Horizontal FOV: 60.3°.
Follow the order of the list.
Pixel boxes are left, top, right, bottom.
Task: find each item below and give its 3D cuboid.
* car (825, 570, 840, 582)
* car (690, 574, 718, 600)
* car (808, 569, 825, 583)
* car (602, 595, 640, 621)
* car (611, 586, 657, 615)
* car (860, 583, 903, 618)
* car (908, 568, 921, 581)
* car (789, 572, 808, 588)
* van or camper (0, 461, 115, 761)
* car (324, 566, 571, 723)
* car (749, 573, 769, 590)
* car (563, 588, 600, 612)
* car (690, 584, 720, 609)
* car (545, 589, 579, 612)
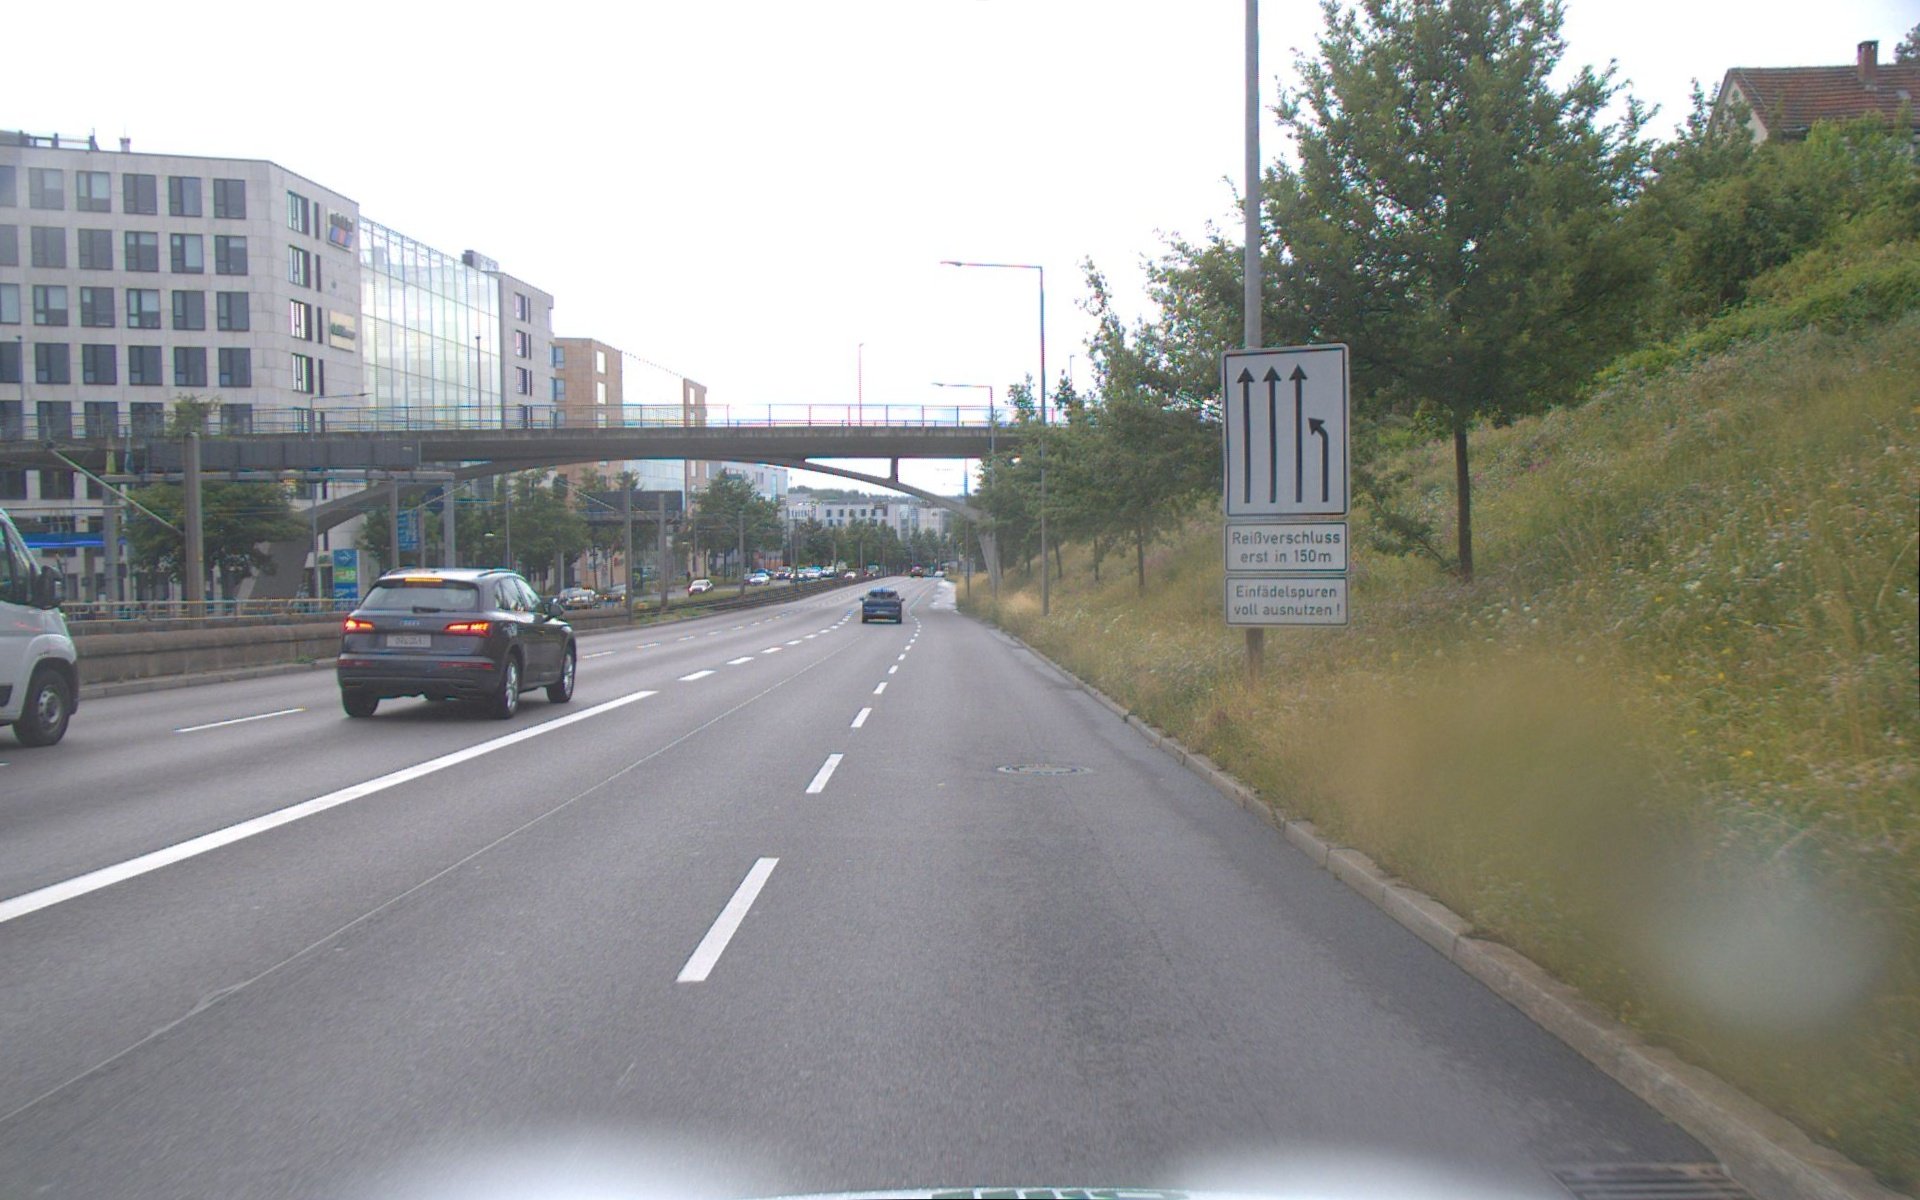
[{"bbox_3d":[-19.747,-3.709,256.069,1.952,1.765,4.250,1,3,0],"label":"car"},{"bbox_3d":[-23.052,-1.182,149.092,1.953,2.048,4.000,1,3,-2],"label":"car"},{"bbox_3d":[-20.238,-3.373,233.417,1.952,1.765,4.250,1,3,0],"label":"car"},{"bbox_3d":[-19.664,0.455,96.073,1.487,1.445,3.478,0,1,-1],"label":"car"},{"bbox_3d":[-16.770,0.028,85.282,1.713,1.445,3.478,0,0,-1],"label":"car"},{"bbox_3d":[-3.386,0.002,71.941,1.713,1.445,3.478,0,1,-1],"label":"car"},{"bbox_3d":[-7.017,-3.992,257.485,1.826,1.780,3.998,1,3,-4],"label":"car"},{"bbox_3d":[-20.733,-2.621,212.670,1.952,2.049,4.001,0,1,1],"label":"car"},{"bbox_3d":[-9.001,0.094,12.805,2.159,2.481,5.530,0,0,-1],"label":"van or camper"},{"bbox_3d":[-5.947,0.455,19.782,1.716,1.645,4.745,0,0,-3],"label":"car"},{"bbox_3d":[-24.747,-2.287,203.756,1.952,1.765,4.250,1,3,0],"label":"car"},{"bbox_3d":[-23.368,-0.019,102.210,1.487,1.445,3.478,0,1,-1],"label":"car"},{"bbox_3d":[-20.571,-0.290,133.702,1.954,1.735,3.999,1,3,-3],"label":"car"},{"bbox_3d":[-27.059,0.027,112.497,1.487,1.445,3.478,0,1,-1],"label":"car"}]
